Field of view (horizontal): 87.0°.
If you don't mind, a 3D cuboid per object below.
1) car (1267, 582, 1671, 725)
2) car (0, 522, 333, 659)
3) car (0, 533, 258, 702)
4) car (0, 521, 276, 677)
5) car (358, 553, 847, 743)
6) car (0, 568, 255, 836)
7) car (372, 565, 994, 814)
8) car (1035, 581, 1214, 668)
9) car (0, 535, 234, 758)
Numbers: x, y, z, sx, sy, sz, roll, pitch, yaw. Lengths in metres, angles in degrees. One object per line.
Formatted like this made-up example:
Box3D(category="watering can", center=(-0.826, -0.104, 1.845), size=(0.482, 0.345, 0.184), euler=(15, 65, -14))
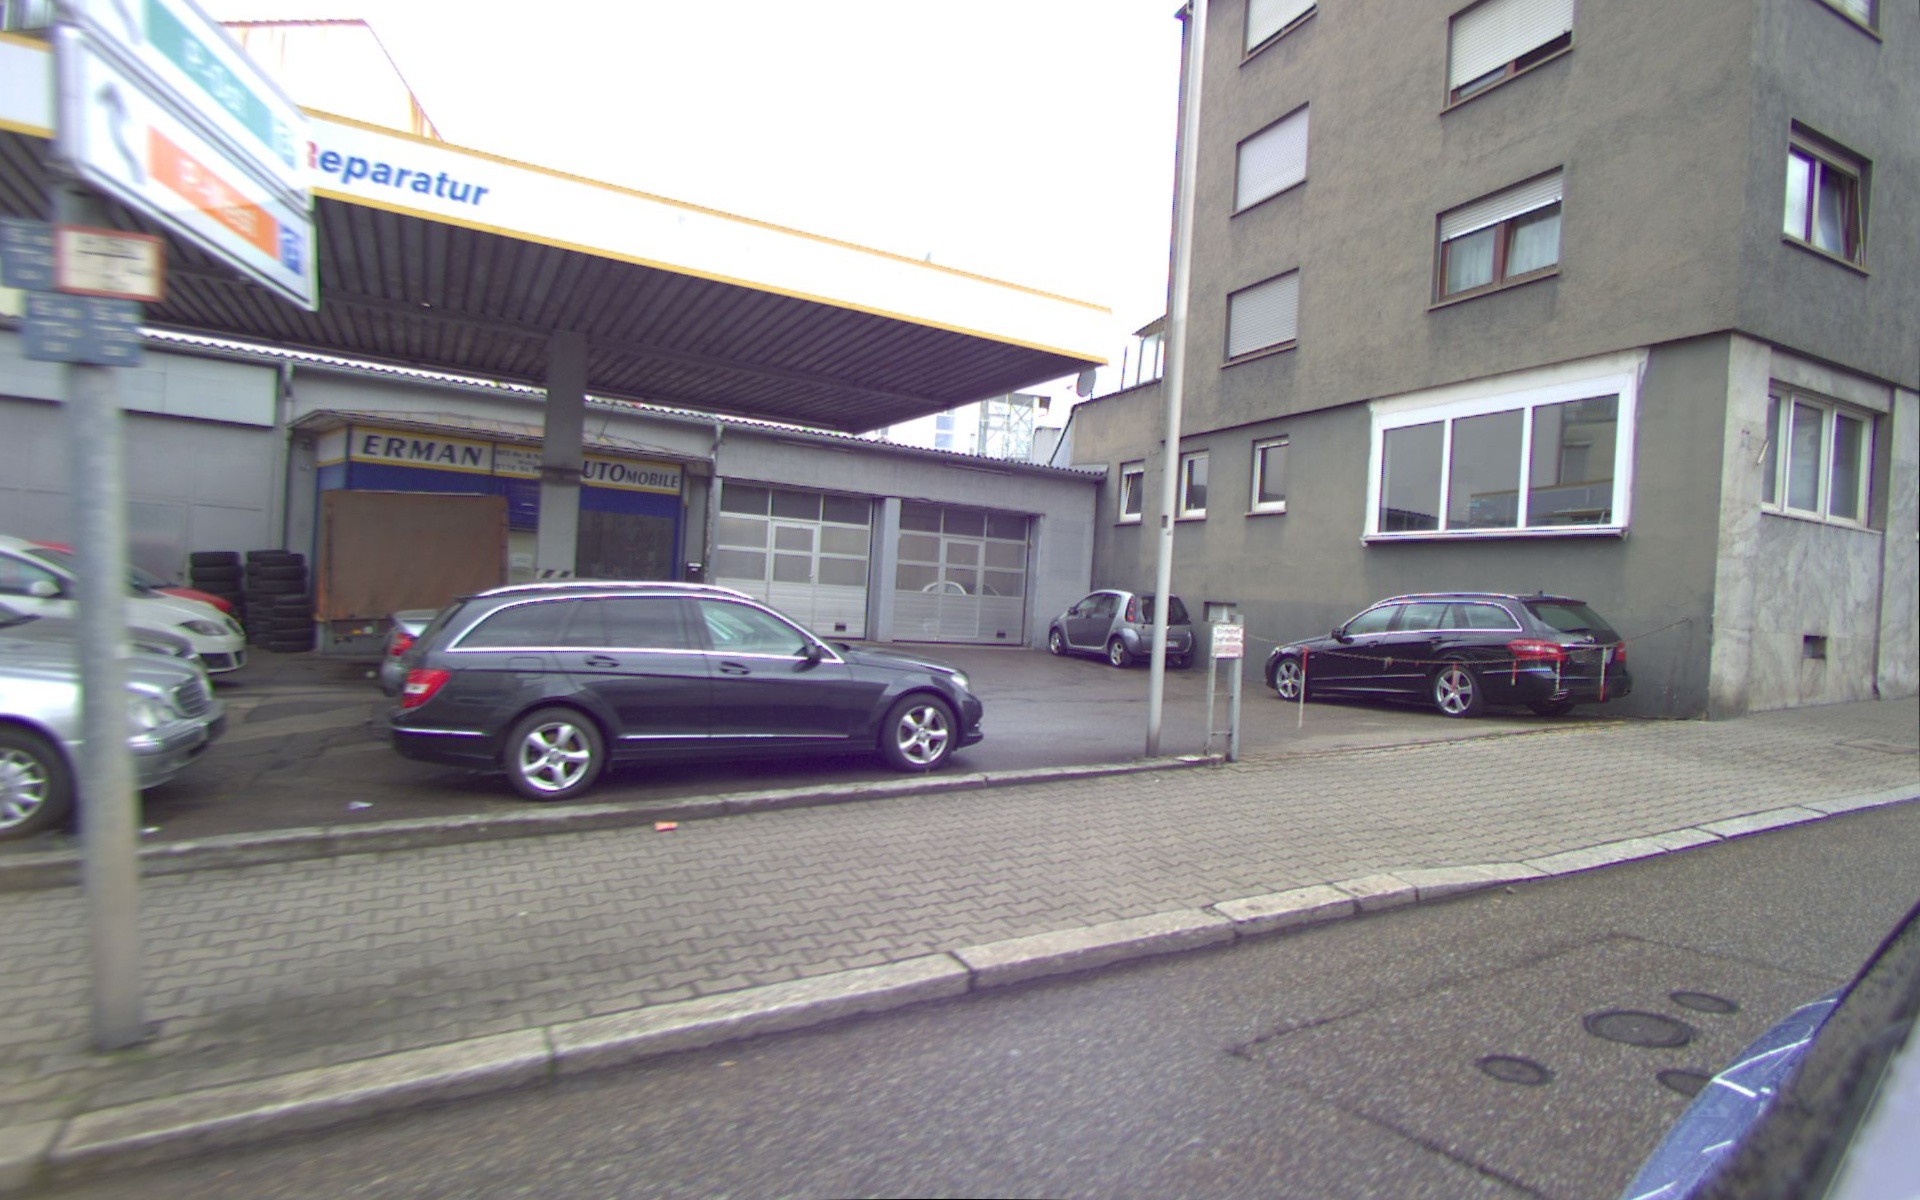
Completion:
Box3D(category="car", center=(6.352, 0.578, 13.305), size=(1.958, 1.523, 4.544), euler=(0, 0, -23))
Box3D(category="car", center=(-11.325, -0.147, 14.451), size=(3.868, 1.752, 1.797), euler=(0, 1, -27))
Box3D(category="car", center=(-9.941, 0.143, 10.340), size=(4.328, 1.620, 1.797), euler=(0, 1, -27))
Box3D(category="car", center=(-10.836, -0.035, 12.388), size=(3.868, 1.752, 1.797), euler=(0, 1, -27))
Box3D(category="car", center=(-3.546, 0.432, 10.353), size=(4.328, 1.529, 1.799), euler=(2, 4, -27))
Box3D(category="car", center=(-6.902, 0.534, 5.732), size=(4.519, 1.433, 1.798), euler=(0, 2, -25))
Box3D(category="car", center=(-2.071, 0.527, 8.007), size=(4.346, 1.530, 1.797), euler=(0, 1, -27))
Box3D(category="car", center=(3.252, 0.448, 20.768), size=(1.757, 1.471, 3.763), euler=(2, 2, -25))
Box3D(category="car", center=(-8.442, 0.283, 7.775), size=(4.399, 1.563, 1.799), euler=(2, 4, -27))
